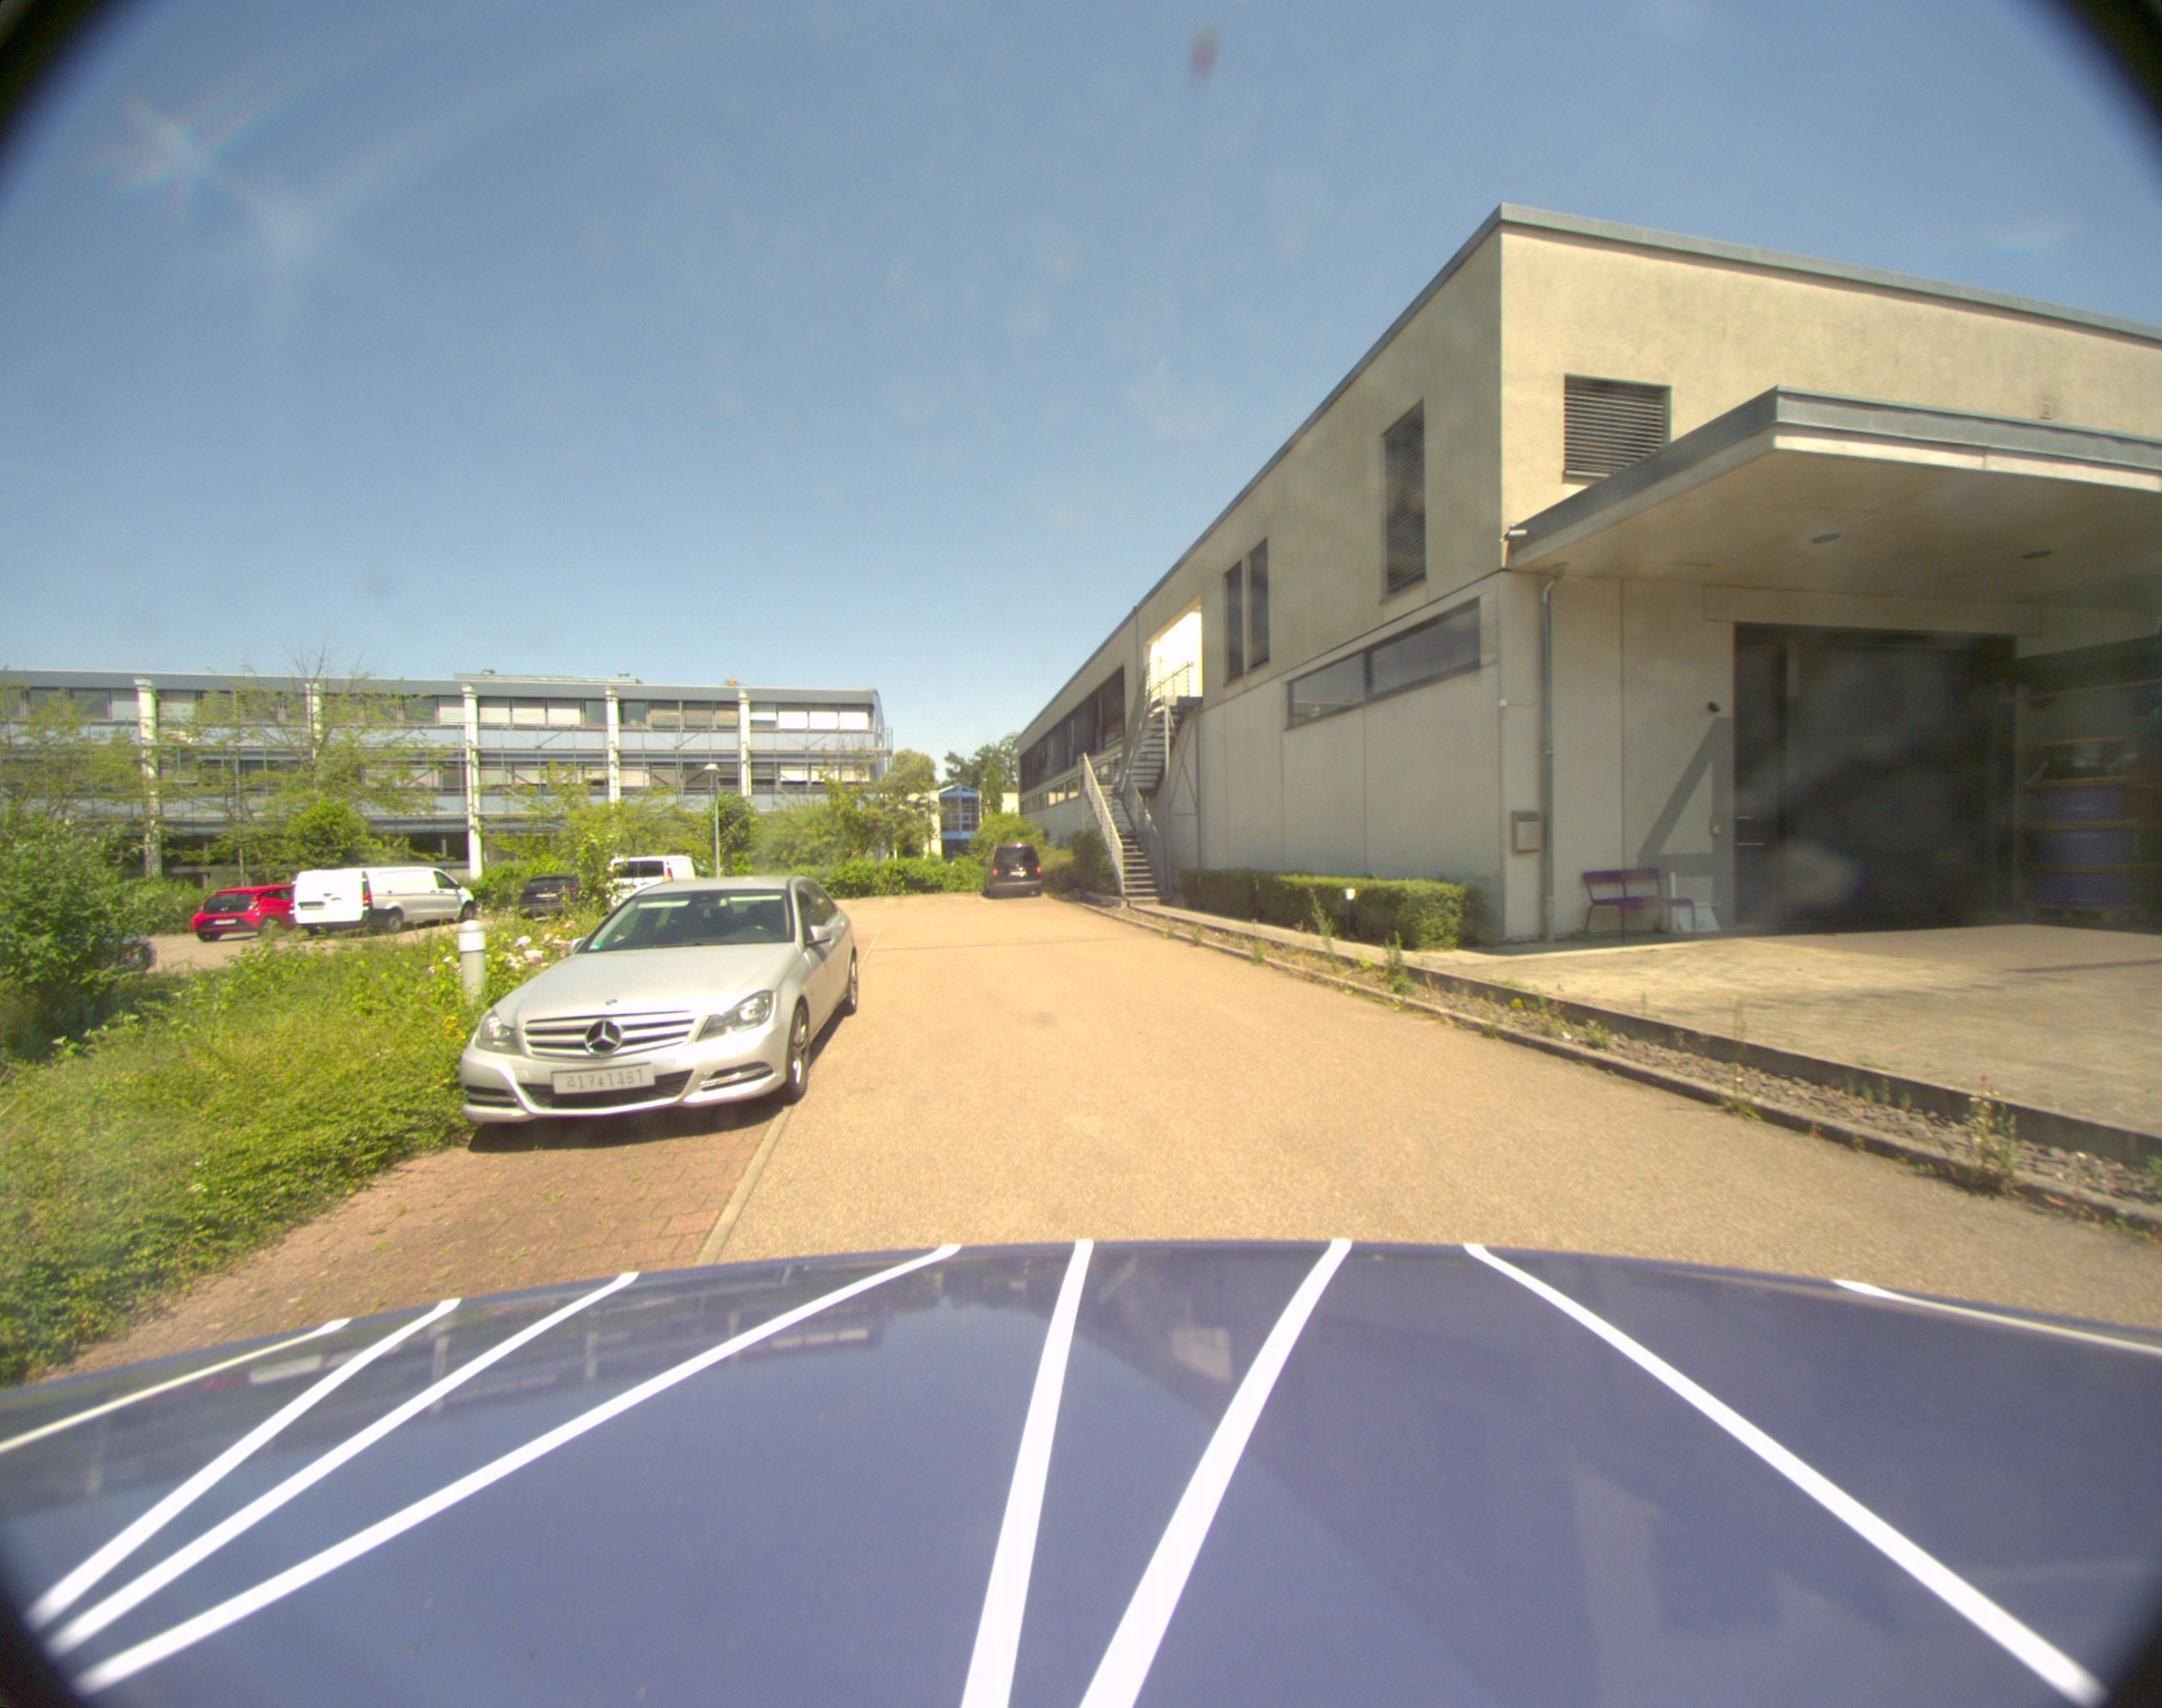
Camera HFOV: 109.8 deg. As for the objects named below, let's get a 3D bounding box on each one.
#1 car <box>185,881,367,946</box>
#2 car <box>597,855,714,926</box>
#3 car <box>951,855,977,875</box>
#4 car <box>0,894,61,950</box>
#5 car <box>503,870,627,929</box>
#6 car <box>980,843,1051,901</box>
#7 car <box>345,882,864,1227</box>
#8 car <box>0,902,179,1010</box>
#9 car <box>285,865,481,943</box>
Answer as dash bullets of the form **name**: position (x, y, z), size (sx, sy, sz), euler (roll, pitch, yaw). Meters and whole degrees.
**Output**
- **car**: position (-23.687, 1.675, 22.597), size (1.625, 1.479, 3.917), euler (-3, 1, -10)
- **car**: position (-13.154, 1.032, 23.855), size (1.869, 1.849, 4.671), euler (-3, 1, -13)
- **car**: position (-10.717, 0.975, 69.127), size (1.838, 1.558, 3.993), euler (-2, 2, -15)
- **car**: position (-31.151, 1.997, 20.616), size (1.740, 1.475, 4.081), euler (-3, 1, -10)
- **car**: position (-15.981, 1.340, 23.816), size (1.740, 1.475, 4.192), euler (-3, 1, -13)
- **car**: position (-2.413, 0.568, 27.110), size (1.869, 1.849, 4.223), euler (-3, 1, -13)
- **car**: position (-2.938, 1.047, 5.963), size (1.805, 1.390, 4.415), euler (-2, 1, -9)
- **car**: position (-17.922, 1.720, 12.326), size (1.857, 1.511, 4.422), euler (-3, 1, -13)
- **car**: position (-20.327, 1.349, 22.498), size (1.857, 1.845, 4.929), euler (-3, 1, -10)
